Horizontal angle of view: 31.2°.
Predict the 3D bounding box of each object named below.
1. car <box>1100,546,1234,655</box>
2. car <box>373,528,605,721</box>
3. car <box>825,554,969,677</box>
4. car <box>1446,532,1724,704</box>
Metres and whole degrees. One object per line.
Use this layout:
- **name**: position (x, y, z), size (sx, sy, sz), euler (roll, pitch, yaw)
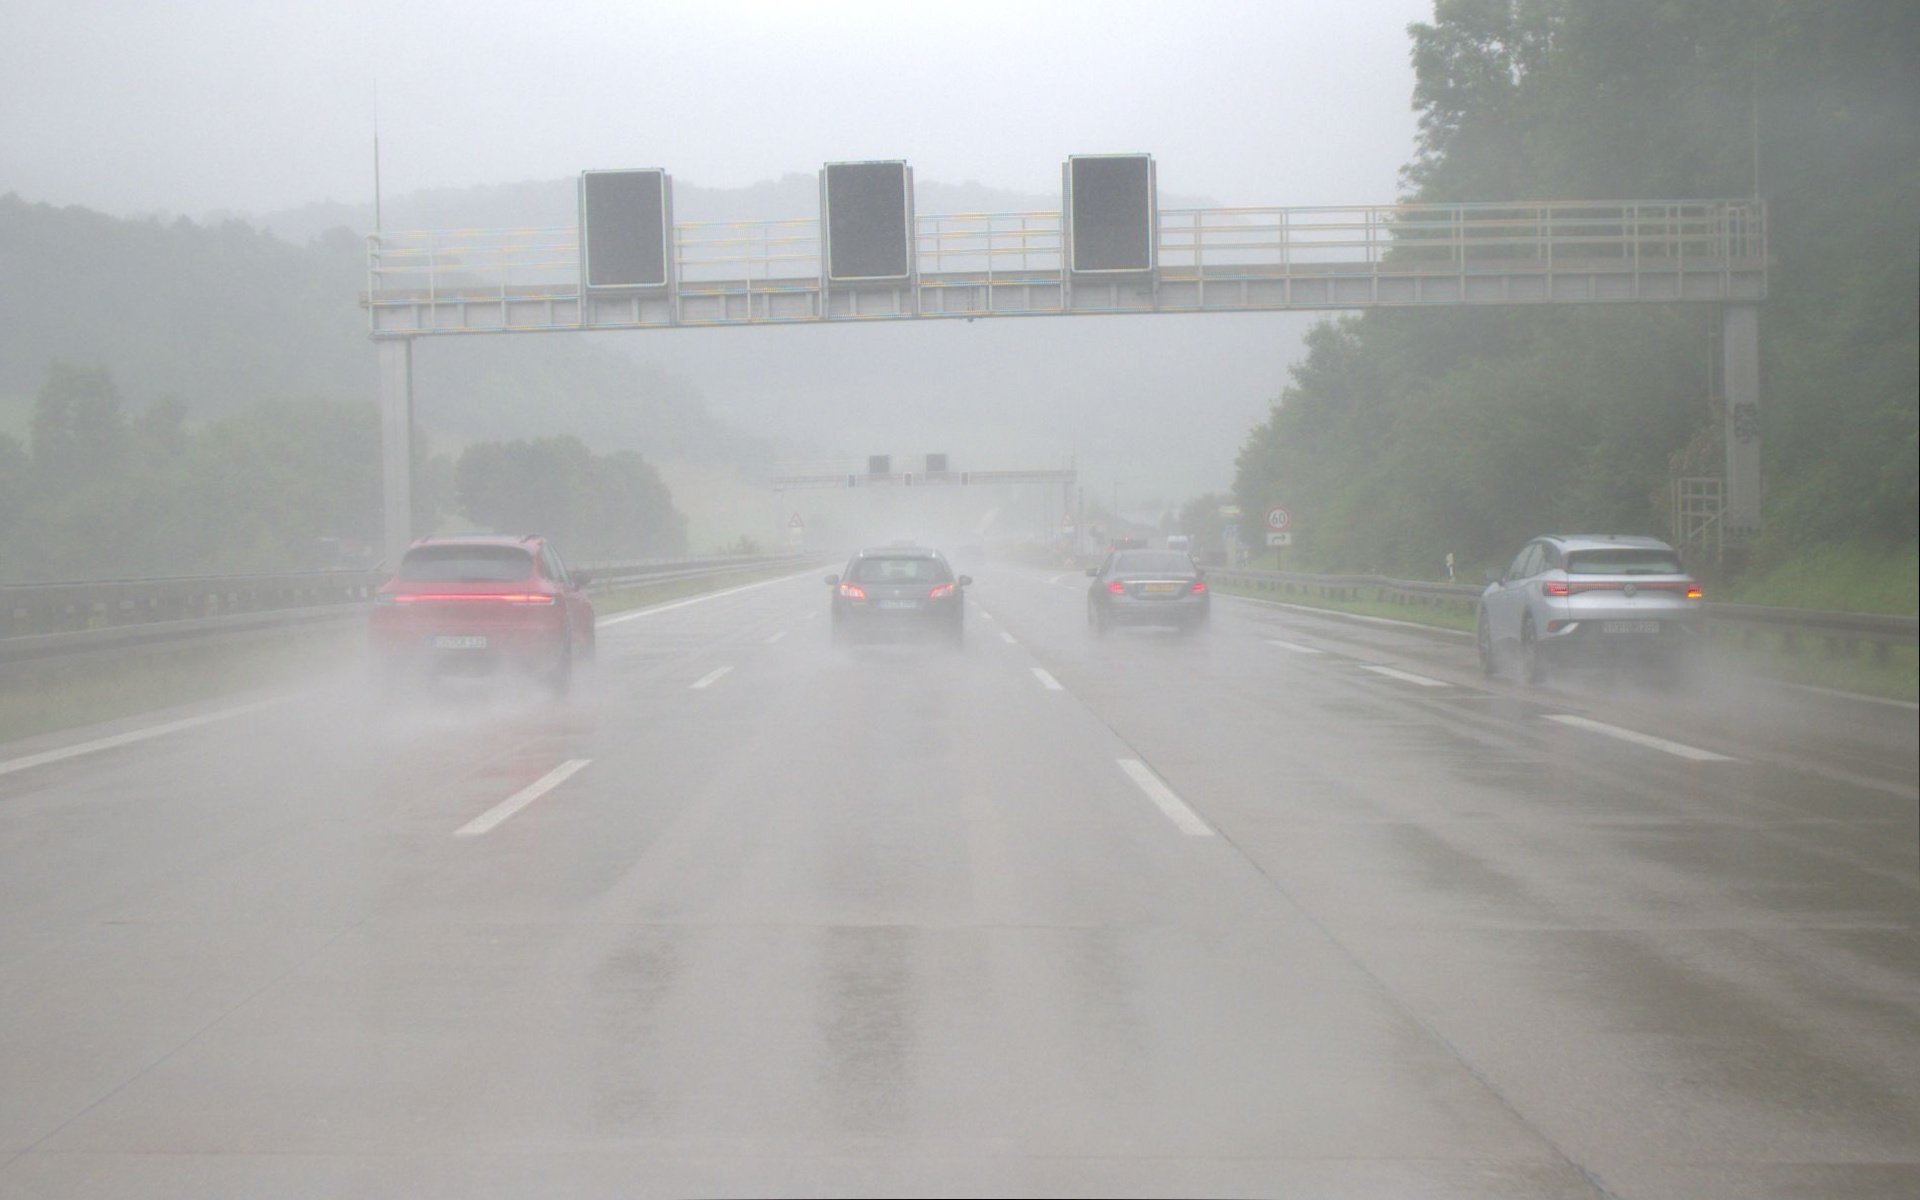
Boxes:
- **car**: position (3.454, -0.019, 58.062), size (1.971, 1.754, 4.000), euler (0, 1, -1)
- **car**: position (-4.665, 0.196, 34.536), size (1.884, 1.809, 4.000), euler (0, 1, -2)
- **car**: position (-0.842, 0.176, 47.064), size (1.859, 1.584, 4.000), euler (1, 1, -1)
- **car**: position (6.868, 0.152, 38.400), size (1.993, 1.744, 5.663), euler (1, 1, -1)
